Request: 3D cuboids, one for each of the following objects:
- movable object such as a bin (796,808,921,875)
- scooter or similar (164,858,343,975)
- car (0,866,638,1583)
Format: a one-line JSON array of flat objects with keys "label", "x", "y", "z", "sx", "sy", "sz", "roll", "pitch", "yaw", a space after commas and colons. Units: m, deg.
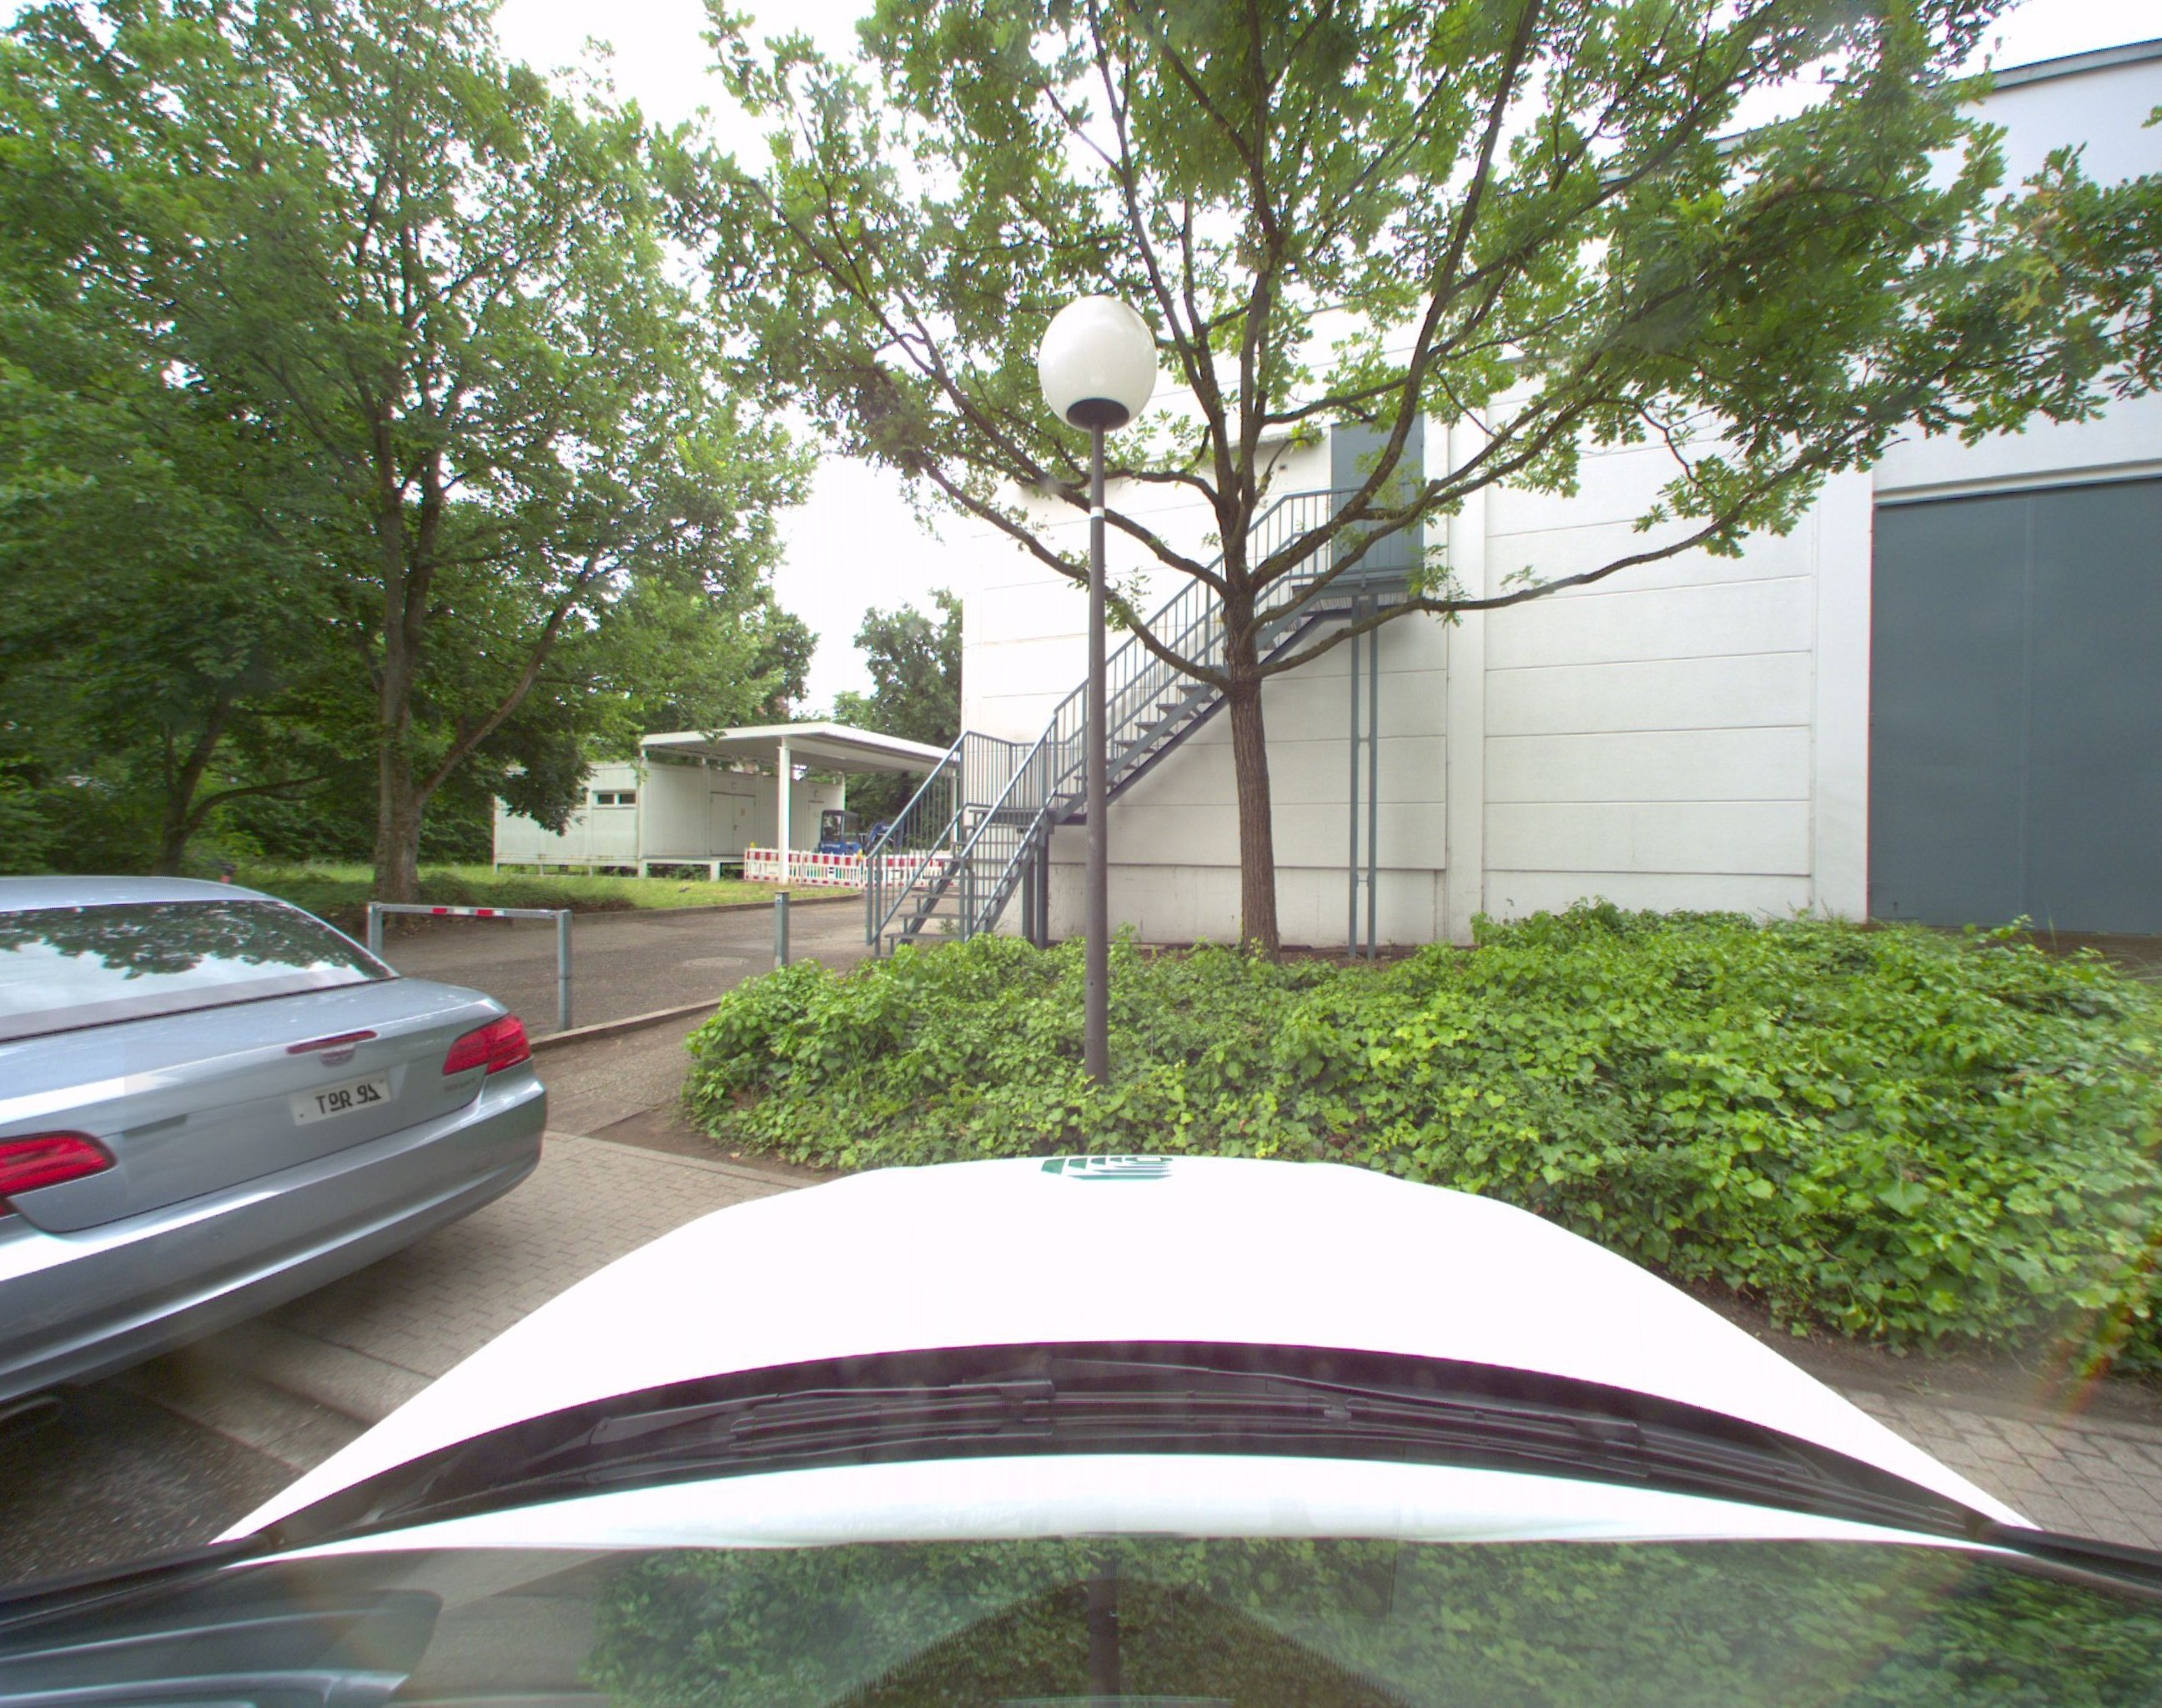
[{"label": "movable object such as a bin", "x": -7.727, "y": -0.382, "z": 28.831, "sx": 1.977, "sy": 2.171, "sz": 4.692, "roll": 0, "pitch": -1, "yaw": 18}, {"label": "scooter or similar", "x": -9.144, "y": 0.663, "z": 9.058, "sx": 1.309, "sy": 1.210, "sz": 0.447, "roll": 0, "pitch": 1, "yaw": -28}, {"label": "car", "x": -3.972, "y": 0.781, "z": 2.918, "sx": 4.146, "sy": 1.388, "sz": 1.832, "roll": 0, "pitch": 1, "yaw": 18}]
